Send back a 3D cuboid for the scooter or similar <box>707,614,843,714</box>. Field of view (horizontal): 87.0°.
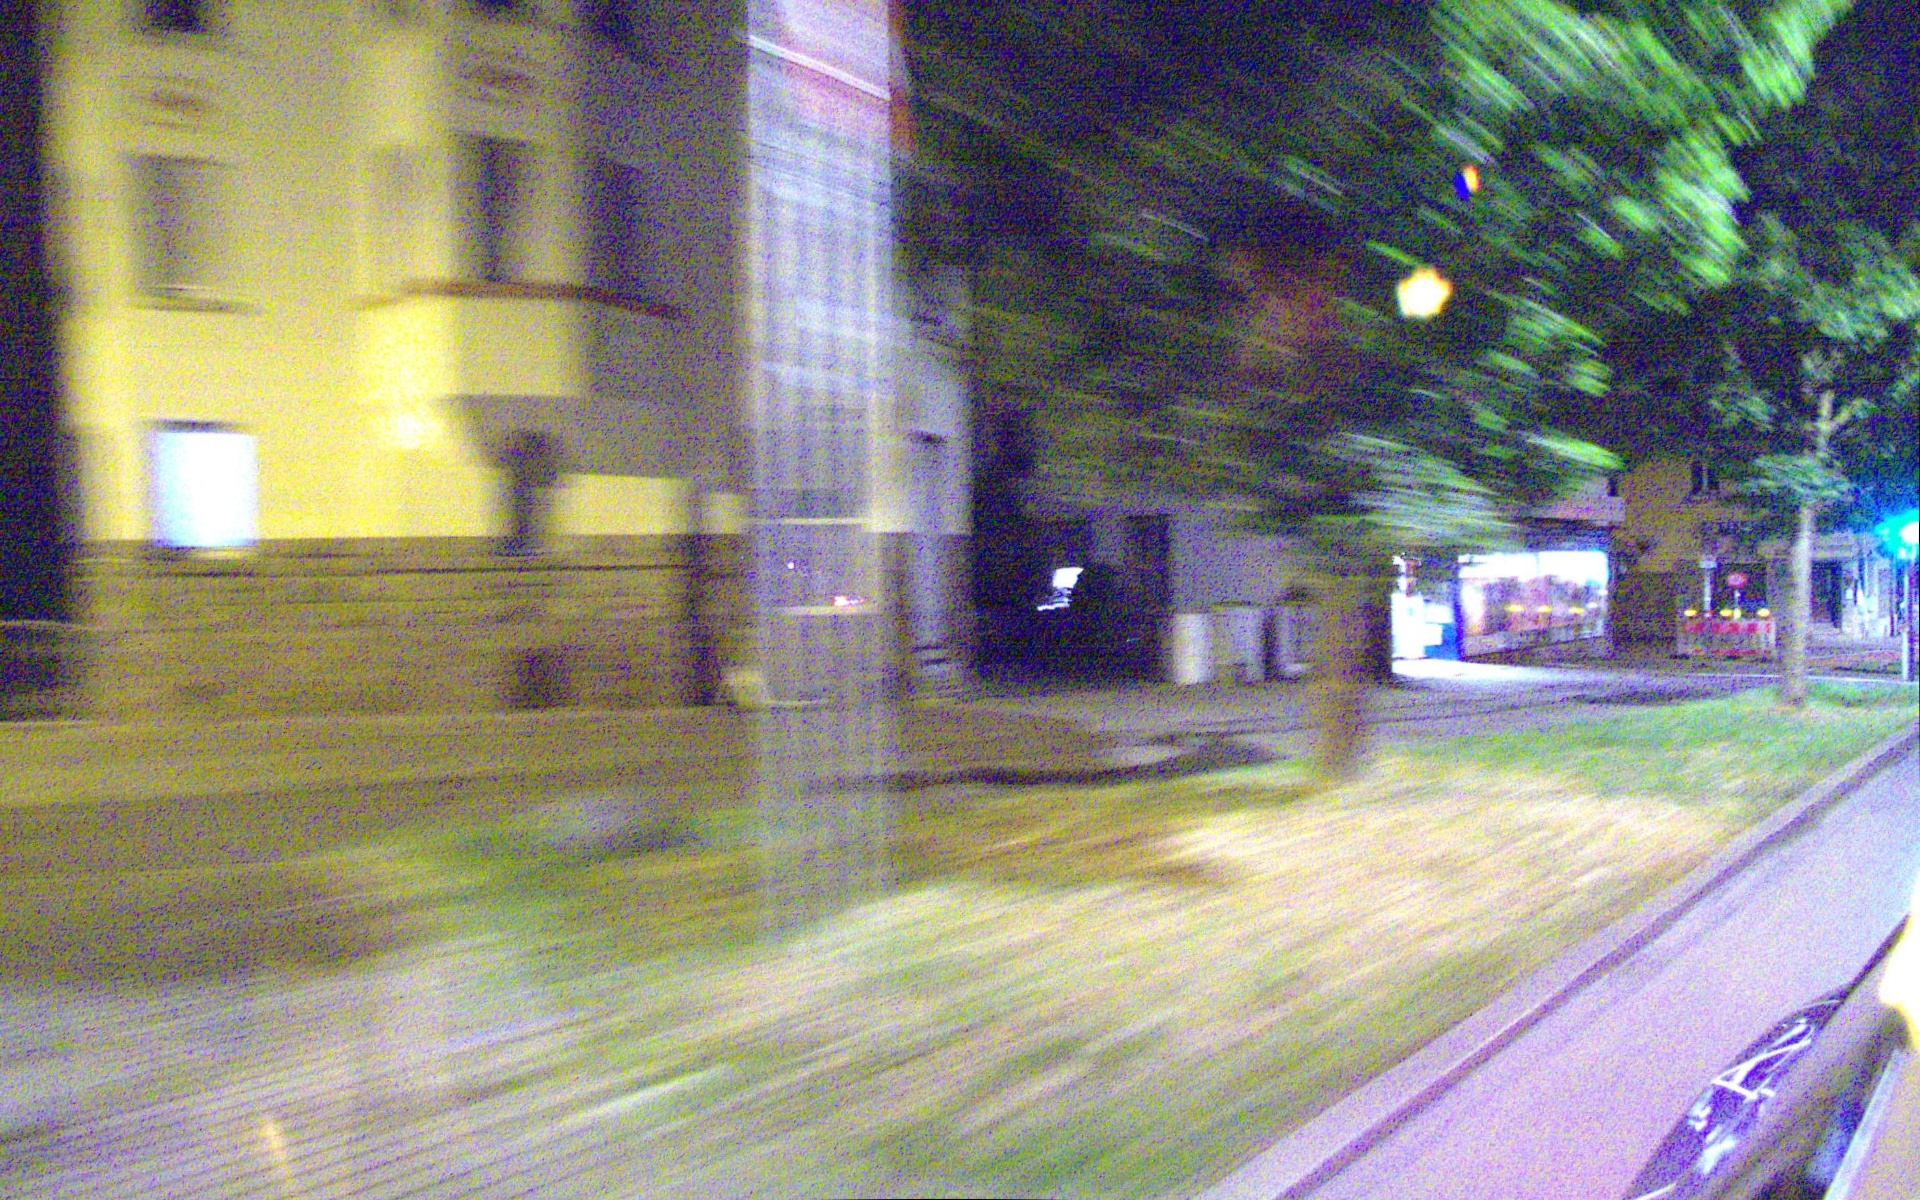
[{"bbox_3d":[-2.319,0.776,12.684,1.631,1.159,0.501,-1,2,-16],"label":"scooter or similar"}]
